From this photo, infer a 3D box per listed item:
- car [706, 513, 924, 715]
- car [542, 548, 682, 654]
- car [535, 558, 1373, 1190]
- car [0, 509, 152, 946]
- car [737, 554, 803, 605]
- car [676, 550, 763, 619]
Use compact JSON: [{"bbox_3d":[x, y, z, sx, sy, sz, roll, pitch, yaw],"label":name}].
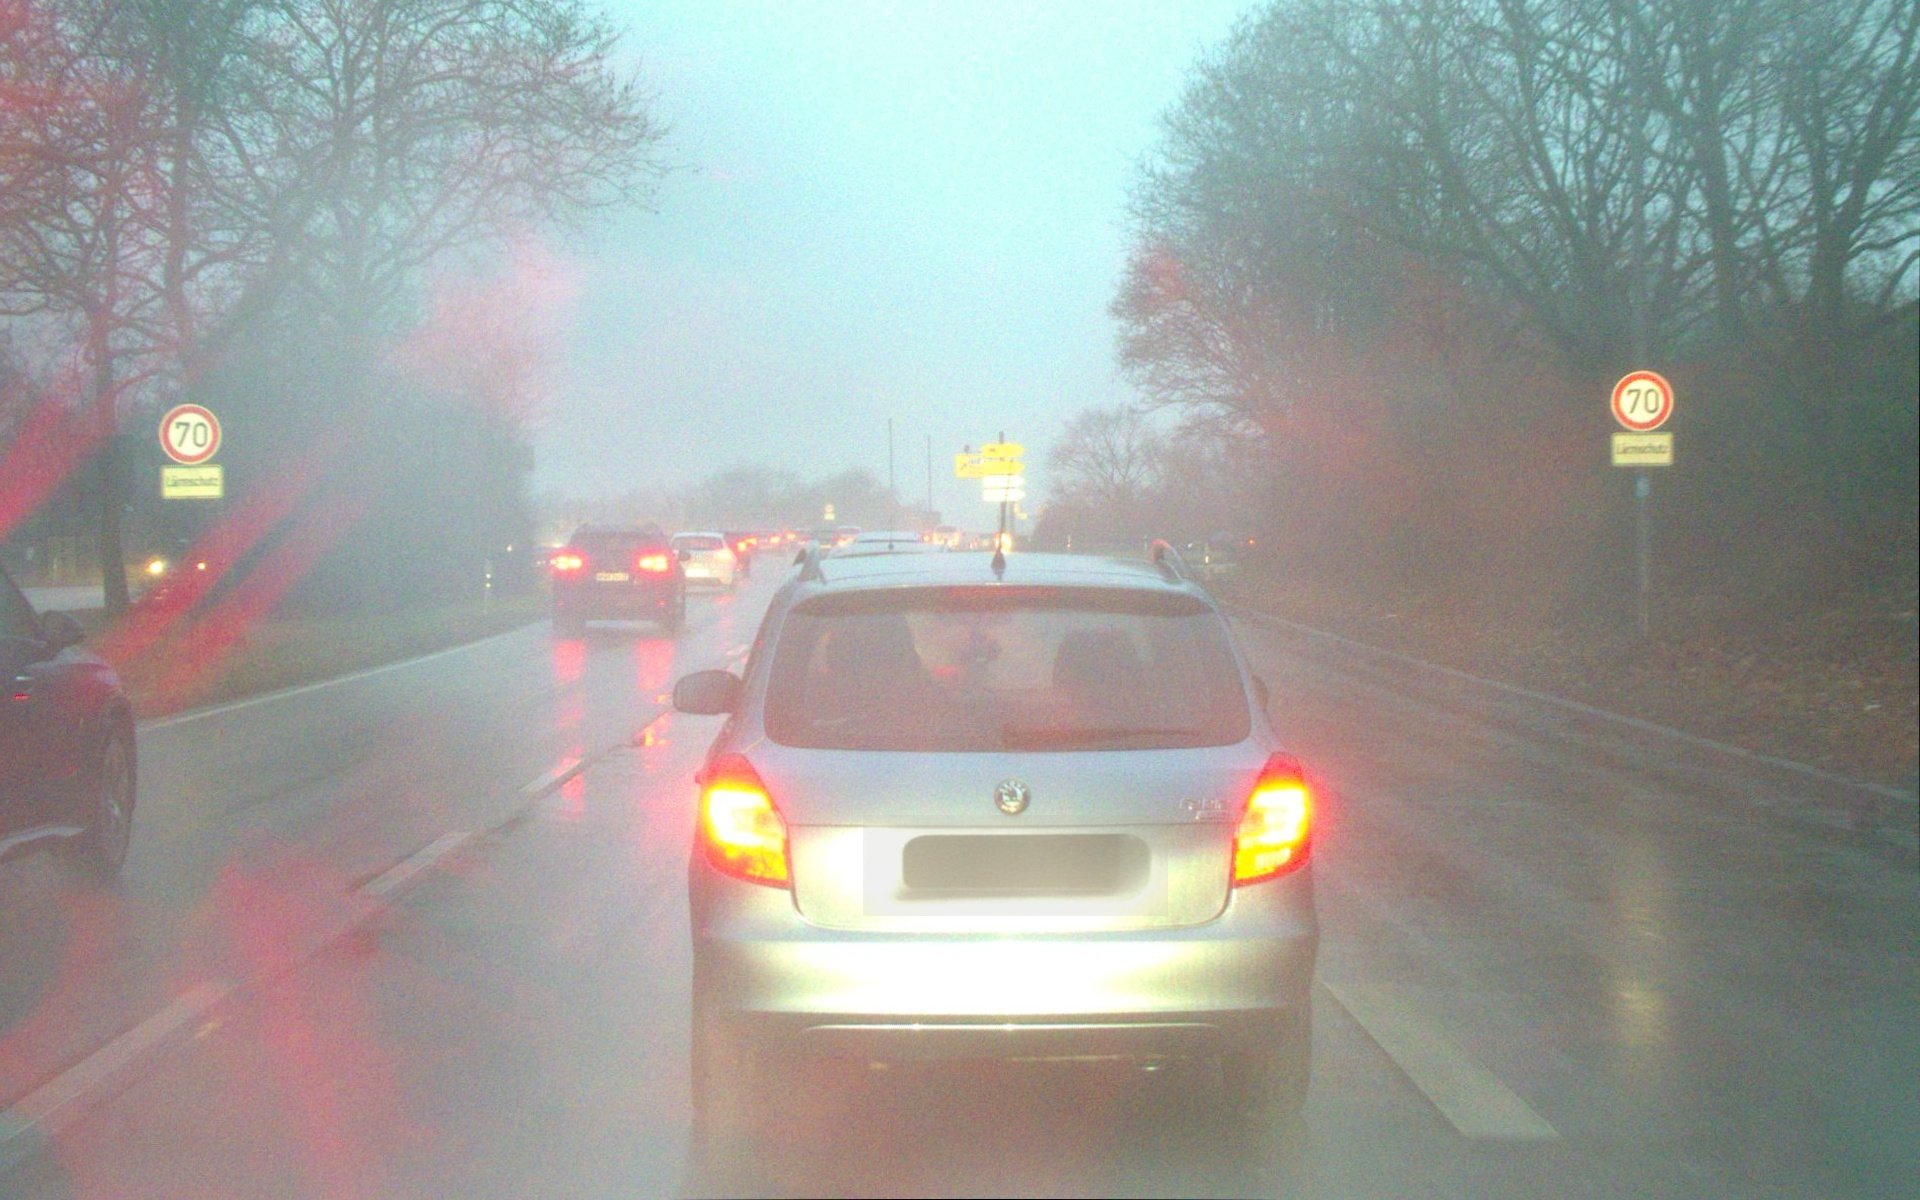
[{"bbox_3d":[-1.307,0.097,32.653,1.897,1.761,4.309,-1,1,-1],"label":"car"},{"bbox_3d":[-5.349,-0.012,53.198,1.789,1.540,4.000,-1,1,-1],"label":"car"},{"bbox_3d":[-0.033,0.640,10.309,1.993,1.495,4.138,-1,0,-1],"label":"car"},{"bbox_3d":[-4.509,0.439,13.042,1.993,1.596,4.309,1,1,-2],"label":"car"},{"bbox_3d":[-5.659,-0.632,102.707,1.789,1.478,4.000,-1,1,-1],"label":"car"},{"bbox_3d":[-5.622,-0.381,80.780,1.789,1.540,4.000,-1,1,-1],"label":"car"}]
